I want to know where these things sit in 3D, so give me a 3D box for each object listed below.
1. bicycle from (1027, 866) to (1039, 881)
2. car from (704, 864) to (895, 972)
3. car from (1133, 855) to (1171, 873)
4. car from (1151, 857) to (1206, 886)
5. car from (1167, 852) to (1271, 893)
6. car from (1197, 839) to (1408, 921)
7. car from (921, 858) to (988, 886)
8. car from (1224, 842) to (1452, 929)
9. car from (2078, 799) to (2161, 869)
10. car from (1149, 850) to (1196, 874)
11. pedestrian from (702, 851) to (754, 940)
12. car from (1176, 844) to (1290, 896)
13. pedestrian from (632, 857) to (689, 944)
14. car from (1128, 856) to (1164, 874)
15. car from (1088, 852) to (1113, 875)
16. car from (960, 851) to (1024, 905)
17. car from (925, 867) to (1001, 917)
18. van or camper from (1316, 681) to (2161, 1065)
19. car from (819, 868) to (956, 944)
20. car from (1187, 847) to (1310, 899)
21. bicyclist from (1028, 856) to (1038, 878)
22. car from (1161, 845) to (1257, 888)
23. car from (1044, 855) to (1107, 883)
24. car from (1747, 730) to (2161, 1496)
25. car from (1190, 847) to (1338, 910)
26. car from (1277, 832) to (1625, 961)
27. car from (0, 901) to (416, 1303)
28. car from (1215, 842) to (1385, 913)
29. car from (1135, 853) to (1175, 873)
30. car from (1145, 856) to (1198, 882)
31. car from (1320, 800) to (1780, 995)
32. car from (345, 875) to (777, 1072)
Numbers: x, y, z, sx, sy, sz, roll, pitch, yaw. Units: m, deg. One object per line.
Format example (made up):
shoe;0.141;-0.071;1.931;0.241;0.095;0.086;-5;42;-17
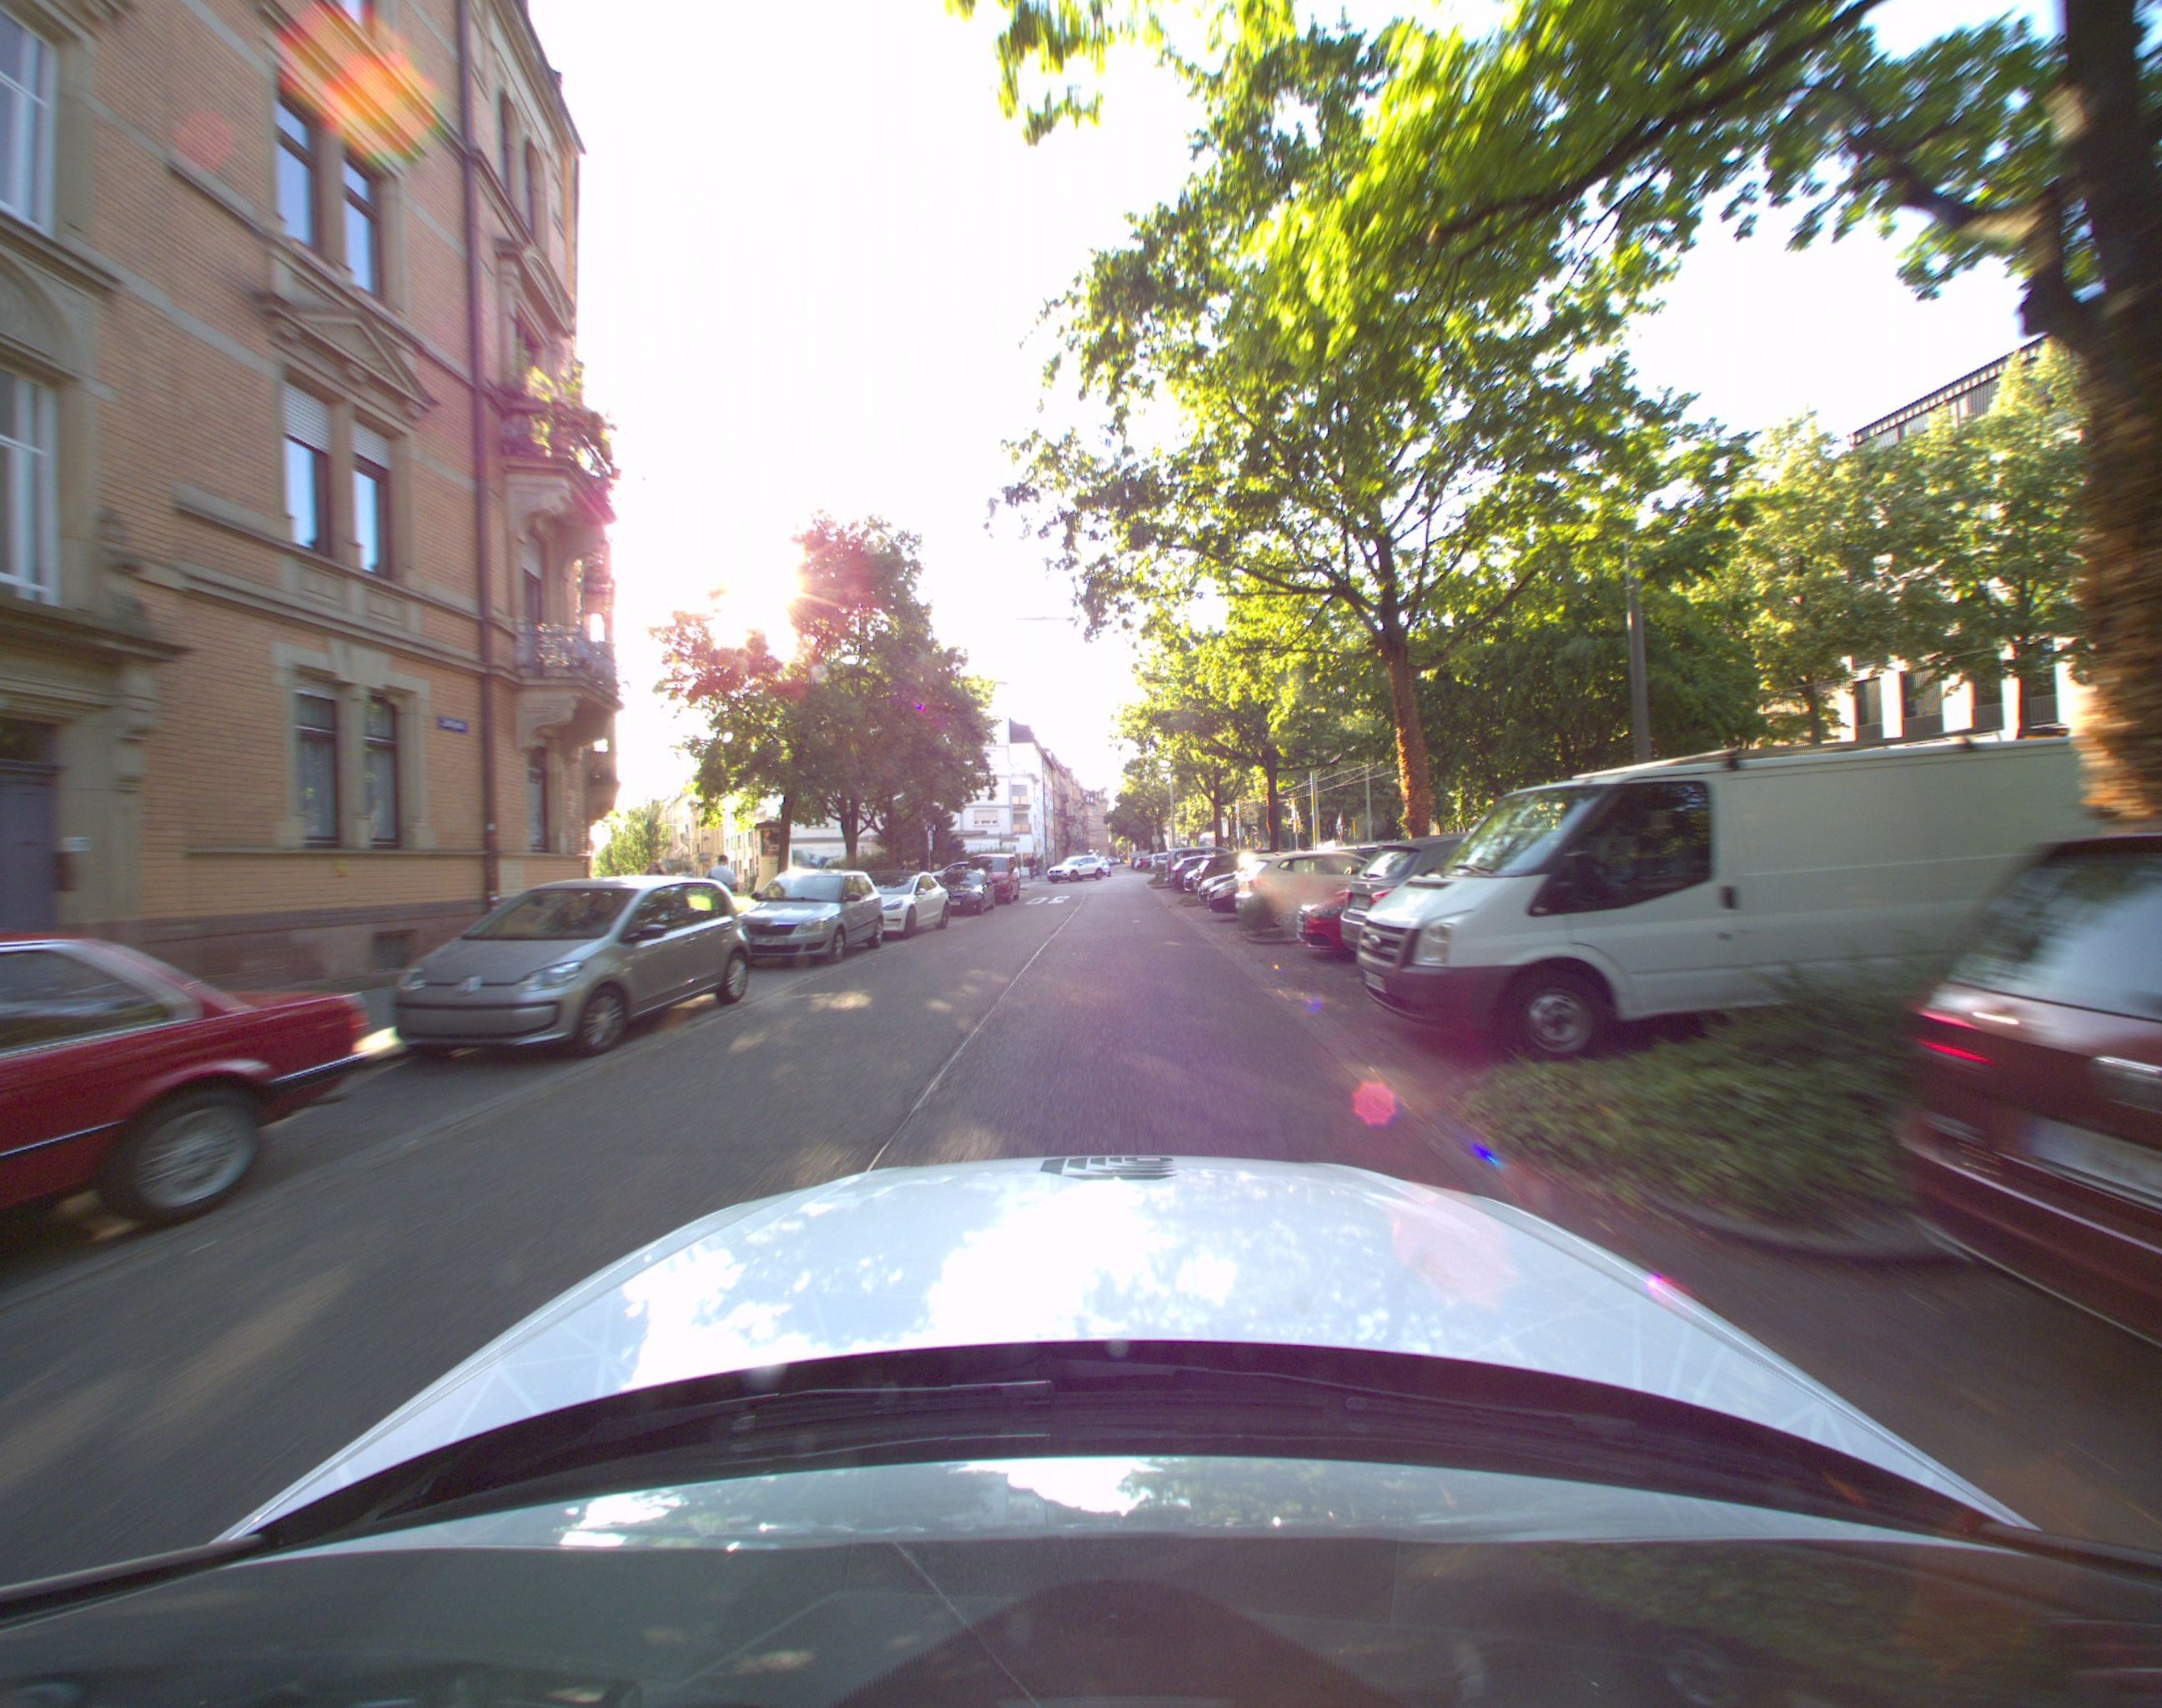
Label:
bicycle;-3.517;1.444;59.676;0.639;1.100;1.944;-1;-2;1
car;-4.631;0.976;14.101;1.750;1.515;4.162;-2;0;1
car;8.215;1.185;94.138;3.959;2.014;2.007;-2;-2;13
car;7.498;1.357;62.571;3.959;2.014;2.007;-2;-2;13
car;5.692;0.763;33.994;3.975;1.563;1.858;-1;-2;-1
car;5.048;0.606;19.003;4.376;1.700;1.858;-1;-2;-1
car;-8.261;1.219;53.543;3.970;1.706;2.001;-2;-2;3
car;5.045;0.631;16.383;3.975;1.548;1.858;-1;-2;-1
car;28.425;-0.538;19.897;4.656;1.684;2.011;-2;-2;26
car;8.275;0.762;73.663;3.959;2.014;2.007;-2;-2;13
pedestrian;-6.932;0.798;16.027;0.594;1.668;0.709;-3;1;2
car;5.781;0.621;31.317;3.975;1.825;1.858;-1;-2;-1
pedestrian;-7.892;0.858;15.325;0.594;1.550;0.709;-3;1;2
car;7.786;1.318;97.687;3.959;2.014;2.007;-2;-2;13
car;1.645;0.815;68.807;1.986;1.838;4.000;-1;-2;1
car;-3.528;0.926;32.992;1.950;2.018;4.270;-2;0;2
car;-3.873;1.219;27.459;1.749;1.466;4.270;-2;0;2
van or camper;4.660;0.152;6.395;4.965;2.377;2.185;-1;-2;0
car;-4.306;1.102;18.807;1.748;1.466;4.274;-2;0;5
car;5.898;0.685;29.012;3.975;1.700;1.858;-1;-2;-1
bicyclist;-3.541;0.944;59.589;0.625;1.573;0.802;-1;-2;1
car;5.714;0.593;36.672;3.975;1.794;1.858;-1;-2;-1
car;-0.285;0.953;53.265;1.761;1.674;4.516;-2;0;36
car;4.324;0.433;1.837;3.970;1.691;1.861;-4;-1;3
car;5.402;0.734;24.360;3.975;1.700;1.858;-1;-2;-1
car;4.946;0.568;11.325;3.975;1.548;1.858;-1;-2;-1
car;-4.980;1.015;2.842;1.663;1.429;4.244;-2;0;3
car;5.738;0.633;21.694;3.975;1.700;1.858;-1;-2;-1
car;7.937;0.955;87.284;3.959;2.014;2.007;-2;-2;13
car;7.385;1.251;66.122;3.959;2.014;2.007;-2;-2;13
car;4.906;0.425;8.953;3.975;1.817;1.858;-1;0;-1
car;-4.787;0.977;8.279;1.696;1.429;3.881;0;0;4
